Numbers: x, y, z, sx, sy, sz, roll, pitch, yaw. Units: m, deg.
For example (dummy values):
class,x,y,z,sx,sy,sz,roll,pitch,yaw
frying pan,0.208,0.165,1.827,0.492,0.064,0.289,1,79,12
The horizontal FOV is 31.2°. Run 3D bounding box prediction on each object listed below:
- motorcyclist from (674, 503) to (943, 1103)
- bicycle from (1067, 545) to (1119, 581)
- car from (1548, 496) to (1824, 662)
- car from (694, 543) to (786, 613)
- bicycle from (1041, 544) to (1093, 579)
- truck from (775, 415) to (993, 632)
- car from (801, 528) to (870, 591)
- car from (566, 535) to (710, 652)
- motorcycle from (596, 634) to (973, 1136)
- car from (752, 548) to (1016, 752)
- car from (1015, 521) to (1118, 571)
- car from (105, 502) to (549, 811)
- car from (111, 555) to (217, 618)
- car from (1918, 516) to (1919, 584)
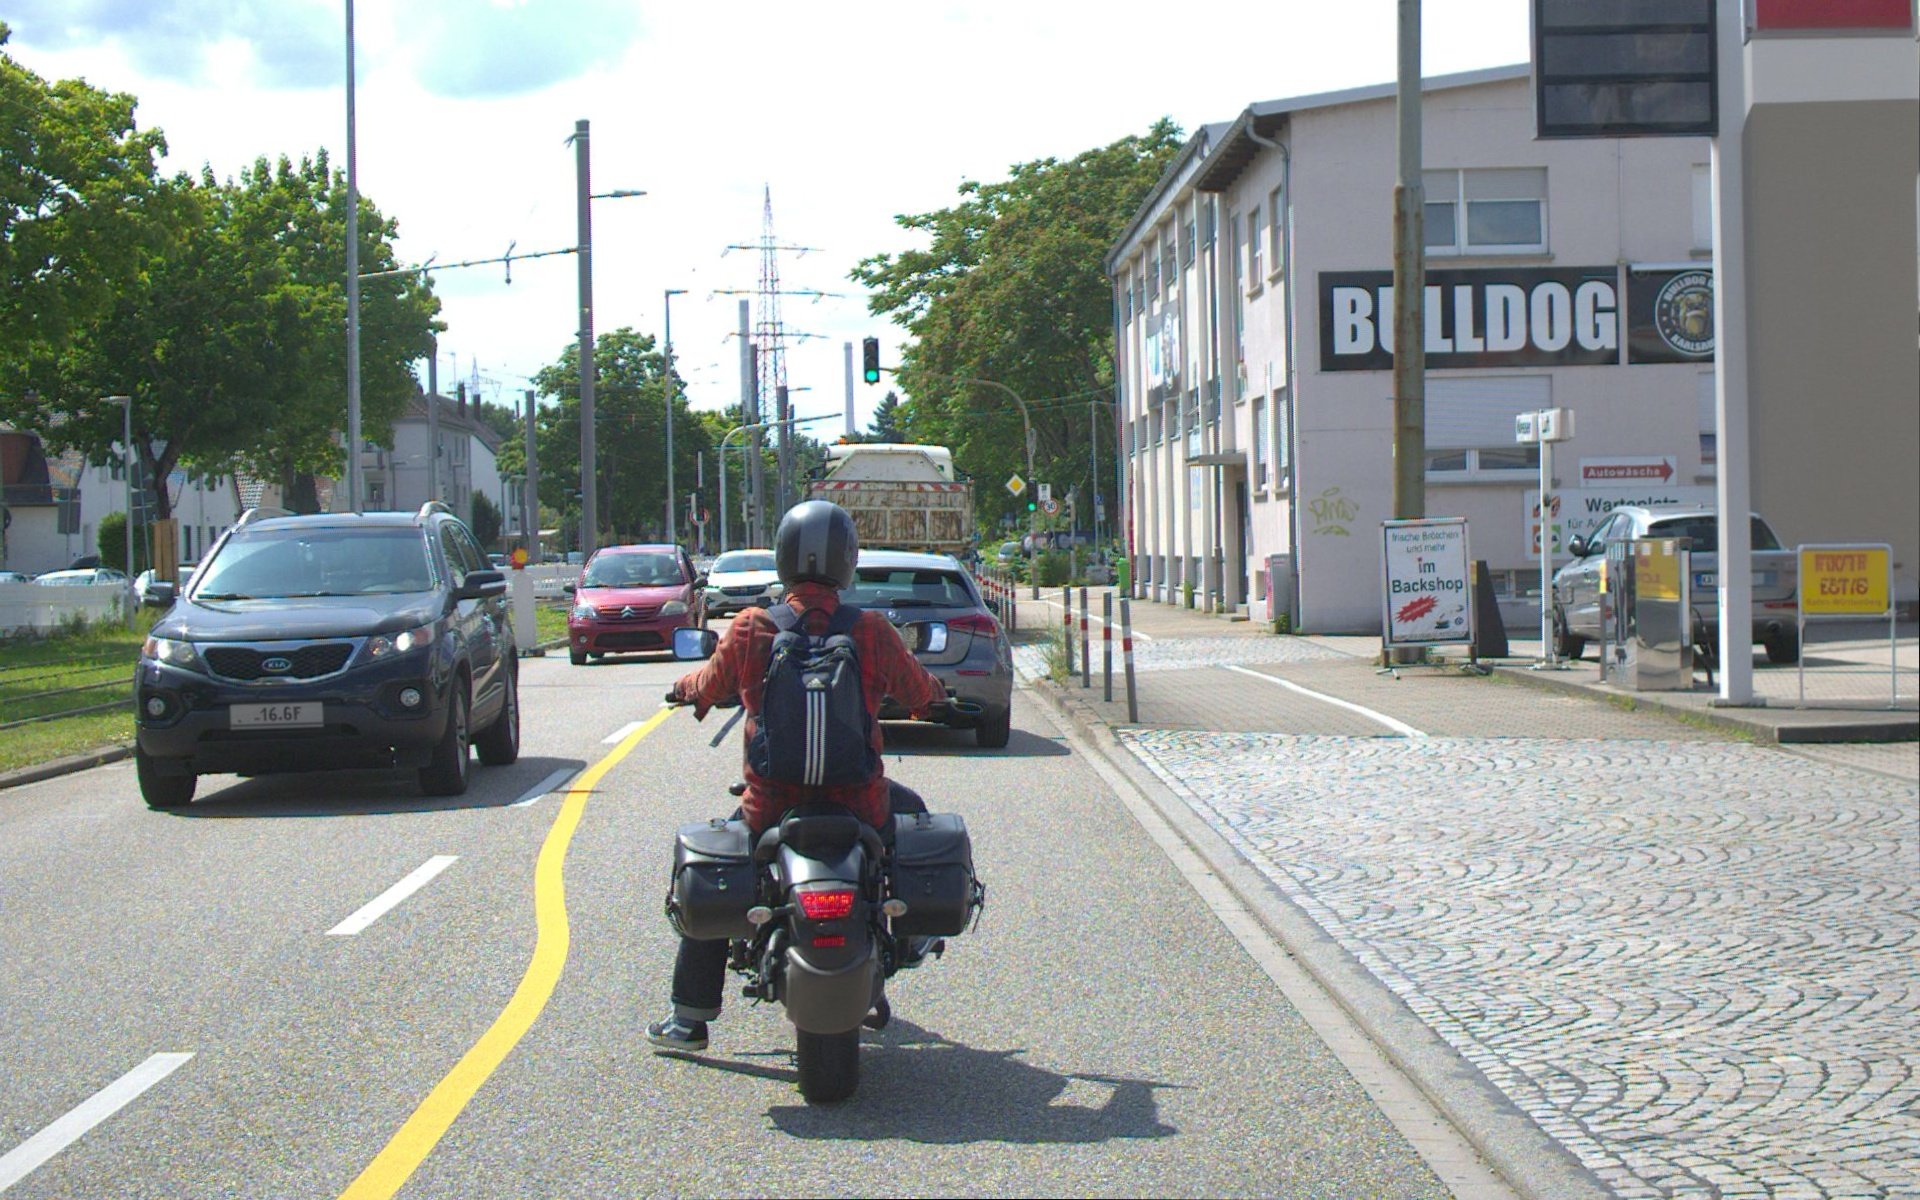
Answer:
class,x,y,z,sx,sy,sz,roll,pitch,yaw
motorcyclist,-0.409,0.543,9.562,0.698,1.599,0.692,1,0,-1
bicycle,4.497,-1.244,116.159,1.708,1.168,0.438,1,0,5
car,7.499,-0.245,35.953,1.945,1.619,4.616,0,1,0
car,-4.804,-0.491,75.564,1.821,1.440,4.484,-2,0,-2
bicycle,3.633,-1.307,116.801,1.708,1.168,0.438,1,0,5
truck,-1.086,-1.154,54.531,2.967,3.162,7.763,1,0,2
car,-3.501,-1.135,97.262,1.824,1.660,4.462,-2,0,-1
car,-4.215,-0.099,45.389,1.578,1.464,3.720,1,0,-1
motorcycle,-0.462,0.742,10.024,0.942,1.196,2.472,1,1,-1
car,-0.657,0.327,26.417,1.731,1.399,4.087,1,1,-5
car,4.210,-2.120,135.803,1.802,1.919,3.989,1,0,45
car,-3.777,0.281,21.247,1.796,1.684,4.221,-1,1,2
car,-17.507,-0.304,75.699,1.521,1.349,3.621,1,0,-1
car,11.793,-0.225,36.587,1.691,1.466,4.424,-2,0,-3
